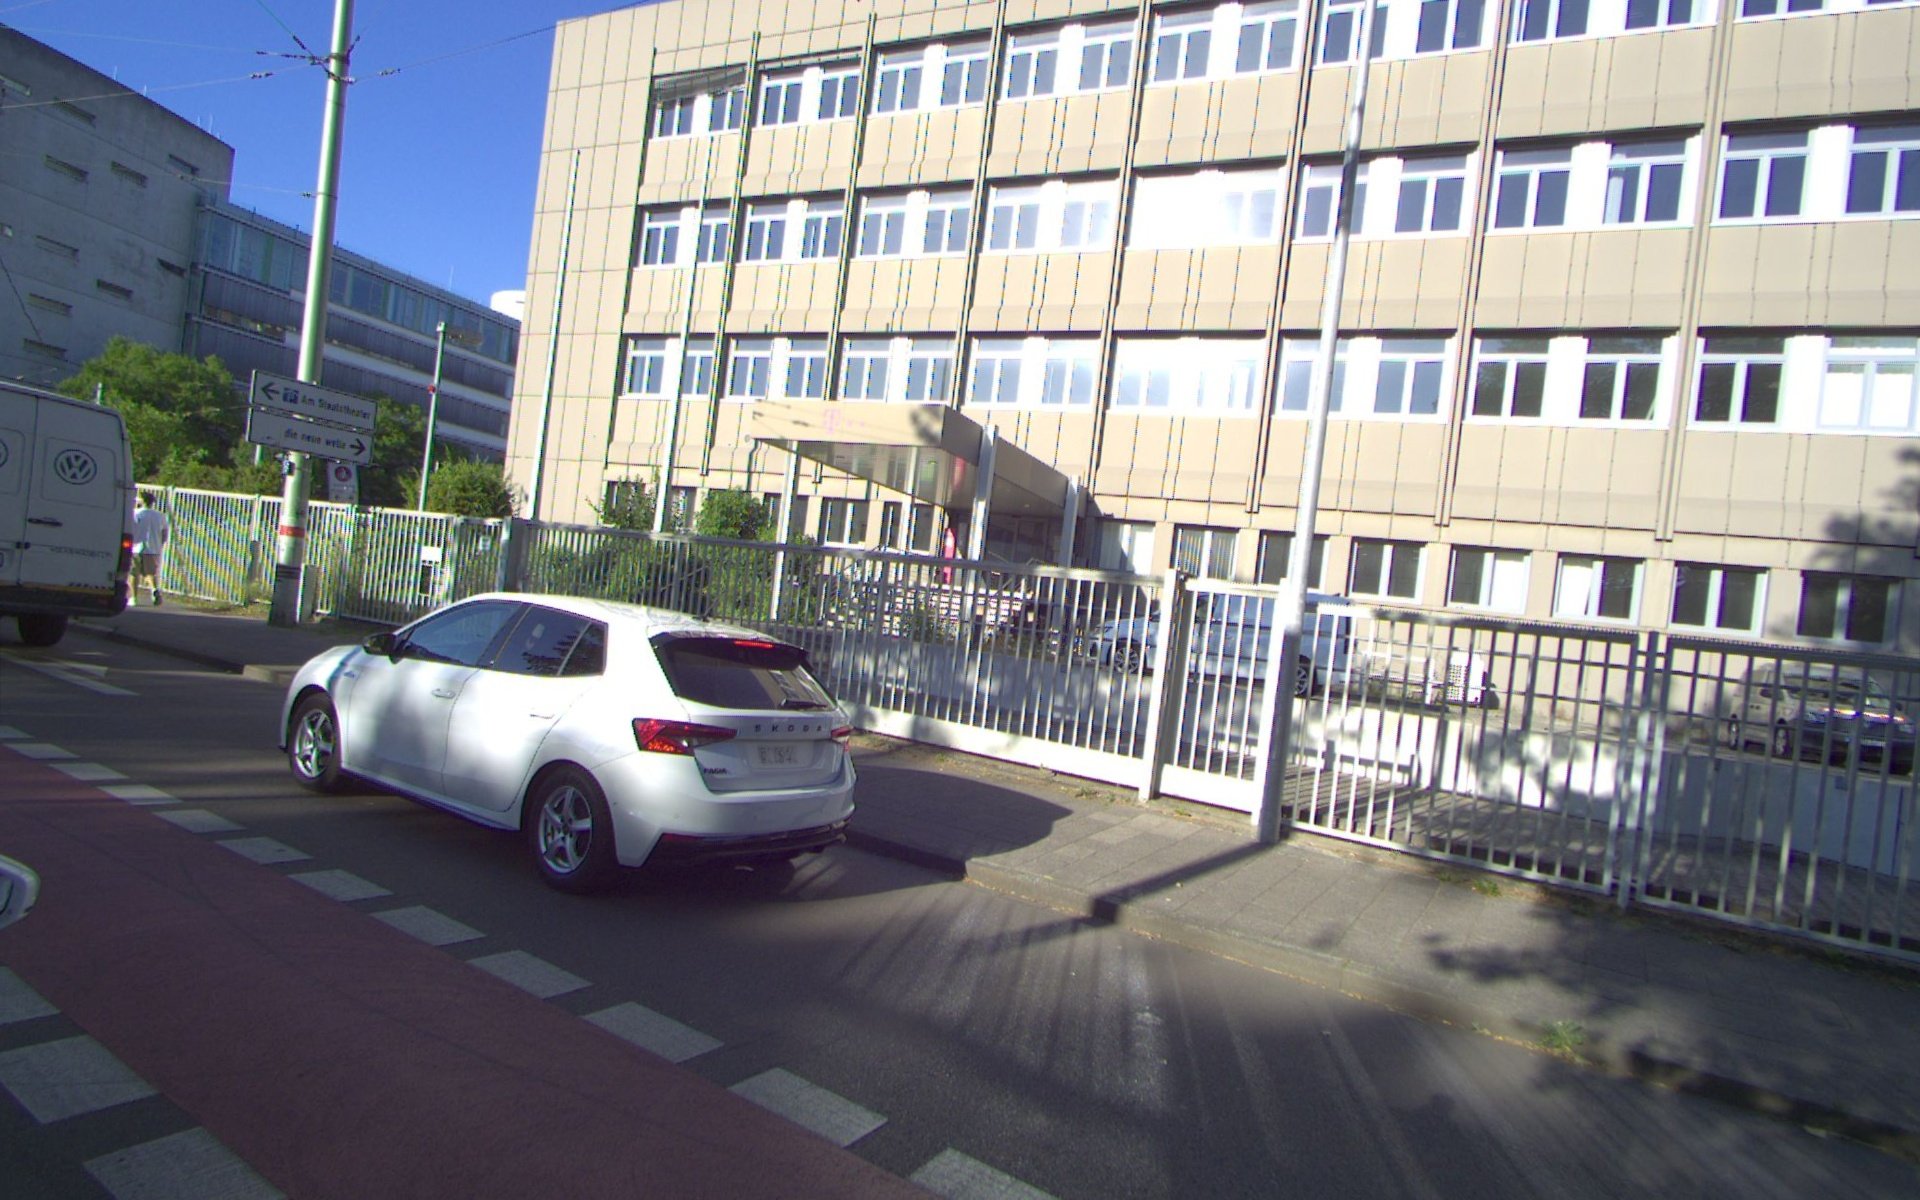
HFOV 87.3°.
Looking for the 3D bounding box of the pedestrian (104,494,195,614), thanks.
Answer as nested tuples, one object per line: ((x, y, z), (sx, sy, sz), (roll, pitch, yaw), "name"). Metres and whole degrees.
((-12.892, -0.727, 16.004), (0.759, 1.770, 0.787), (7, 1, 30), "pedestrian")

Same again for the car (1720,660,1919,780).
((15.913, 2.127, 18.547), (1.958, 1.738, 4.264), (7, -1, 24), "car")

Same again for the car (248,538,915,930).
((-2.466, 0.615, 6.290), (3.916, 1.518, 1.805), (6, -2, 33), "car")

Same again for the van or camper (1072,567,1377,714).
((4.776, 0.681, 18.243), (4.909, 1.932, 1.986), (7, 0, 24), "van or camper")

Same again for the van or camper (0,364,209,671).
((-11.586, -1.072, 11.211), (6.234, 2.763, 2.277), (7, -3, 26), "van or camper")
